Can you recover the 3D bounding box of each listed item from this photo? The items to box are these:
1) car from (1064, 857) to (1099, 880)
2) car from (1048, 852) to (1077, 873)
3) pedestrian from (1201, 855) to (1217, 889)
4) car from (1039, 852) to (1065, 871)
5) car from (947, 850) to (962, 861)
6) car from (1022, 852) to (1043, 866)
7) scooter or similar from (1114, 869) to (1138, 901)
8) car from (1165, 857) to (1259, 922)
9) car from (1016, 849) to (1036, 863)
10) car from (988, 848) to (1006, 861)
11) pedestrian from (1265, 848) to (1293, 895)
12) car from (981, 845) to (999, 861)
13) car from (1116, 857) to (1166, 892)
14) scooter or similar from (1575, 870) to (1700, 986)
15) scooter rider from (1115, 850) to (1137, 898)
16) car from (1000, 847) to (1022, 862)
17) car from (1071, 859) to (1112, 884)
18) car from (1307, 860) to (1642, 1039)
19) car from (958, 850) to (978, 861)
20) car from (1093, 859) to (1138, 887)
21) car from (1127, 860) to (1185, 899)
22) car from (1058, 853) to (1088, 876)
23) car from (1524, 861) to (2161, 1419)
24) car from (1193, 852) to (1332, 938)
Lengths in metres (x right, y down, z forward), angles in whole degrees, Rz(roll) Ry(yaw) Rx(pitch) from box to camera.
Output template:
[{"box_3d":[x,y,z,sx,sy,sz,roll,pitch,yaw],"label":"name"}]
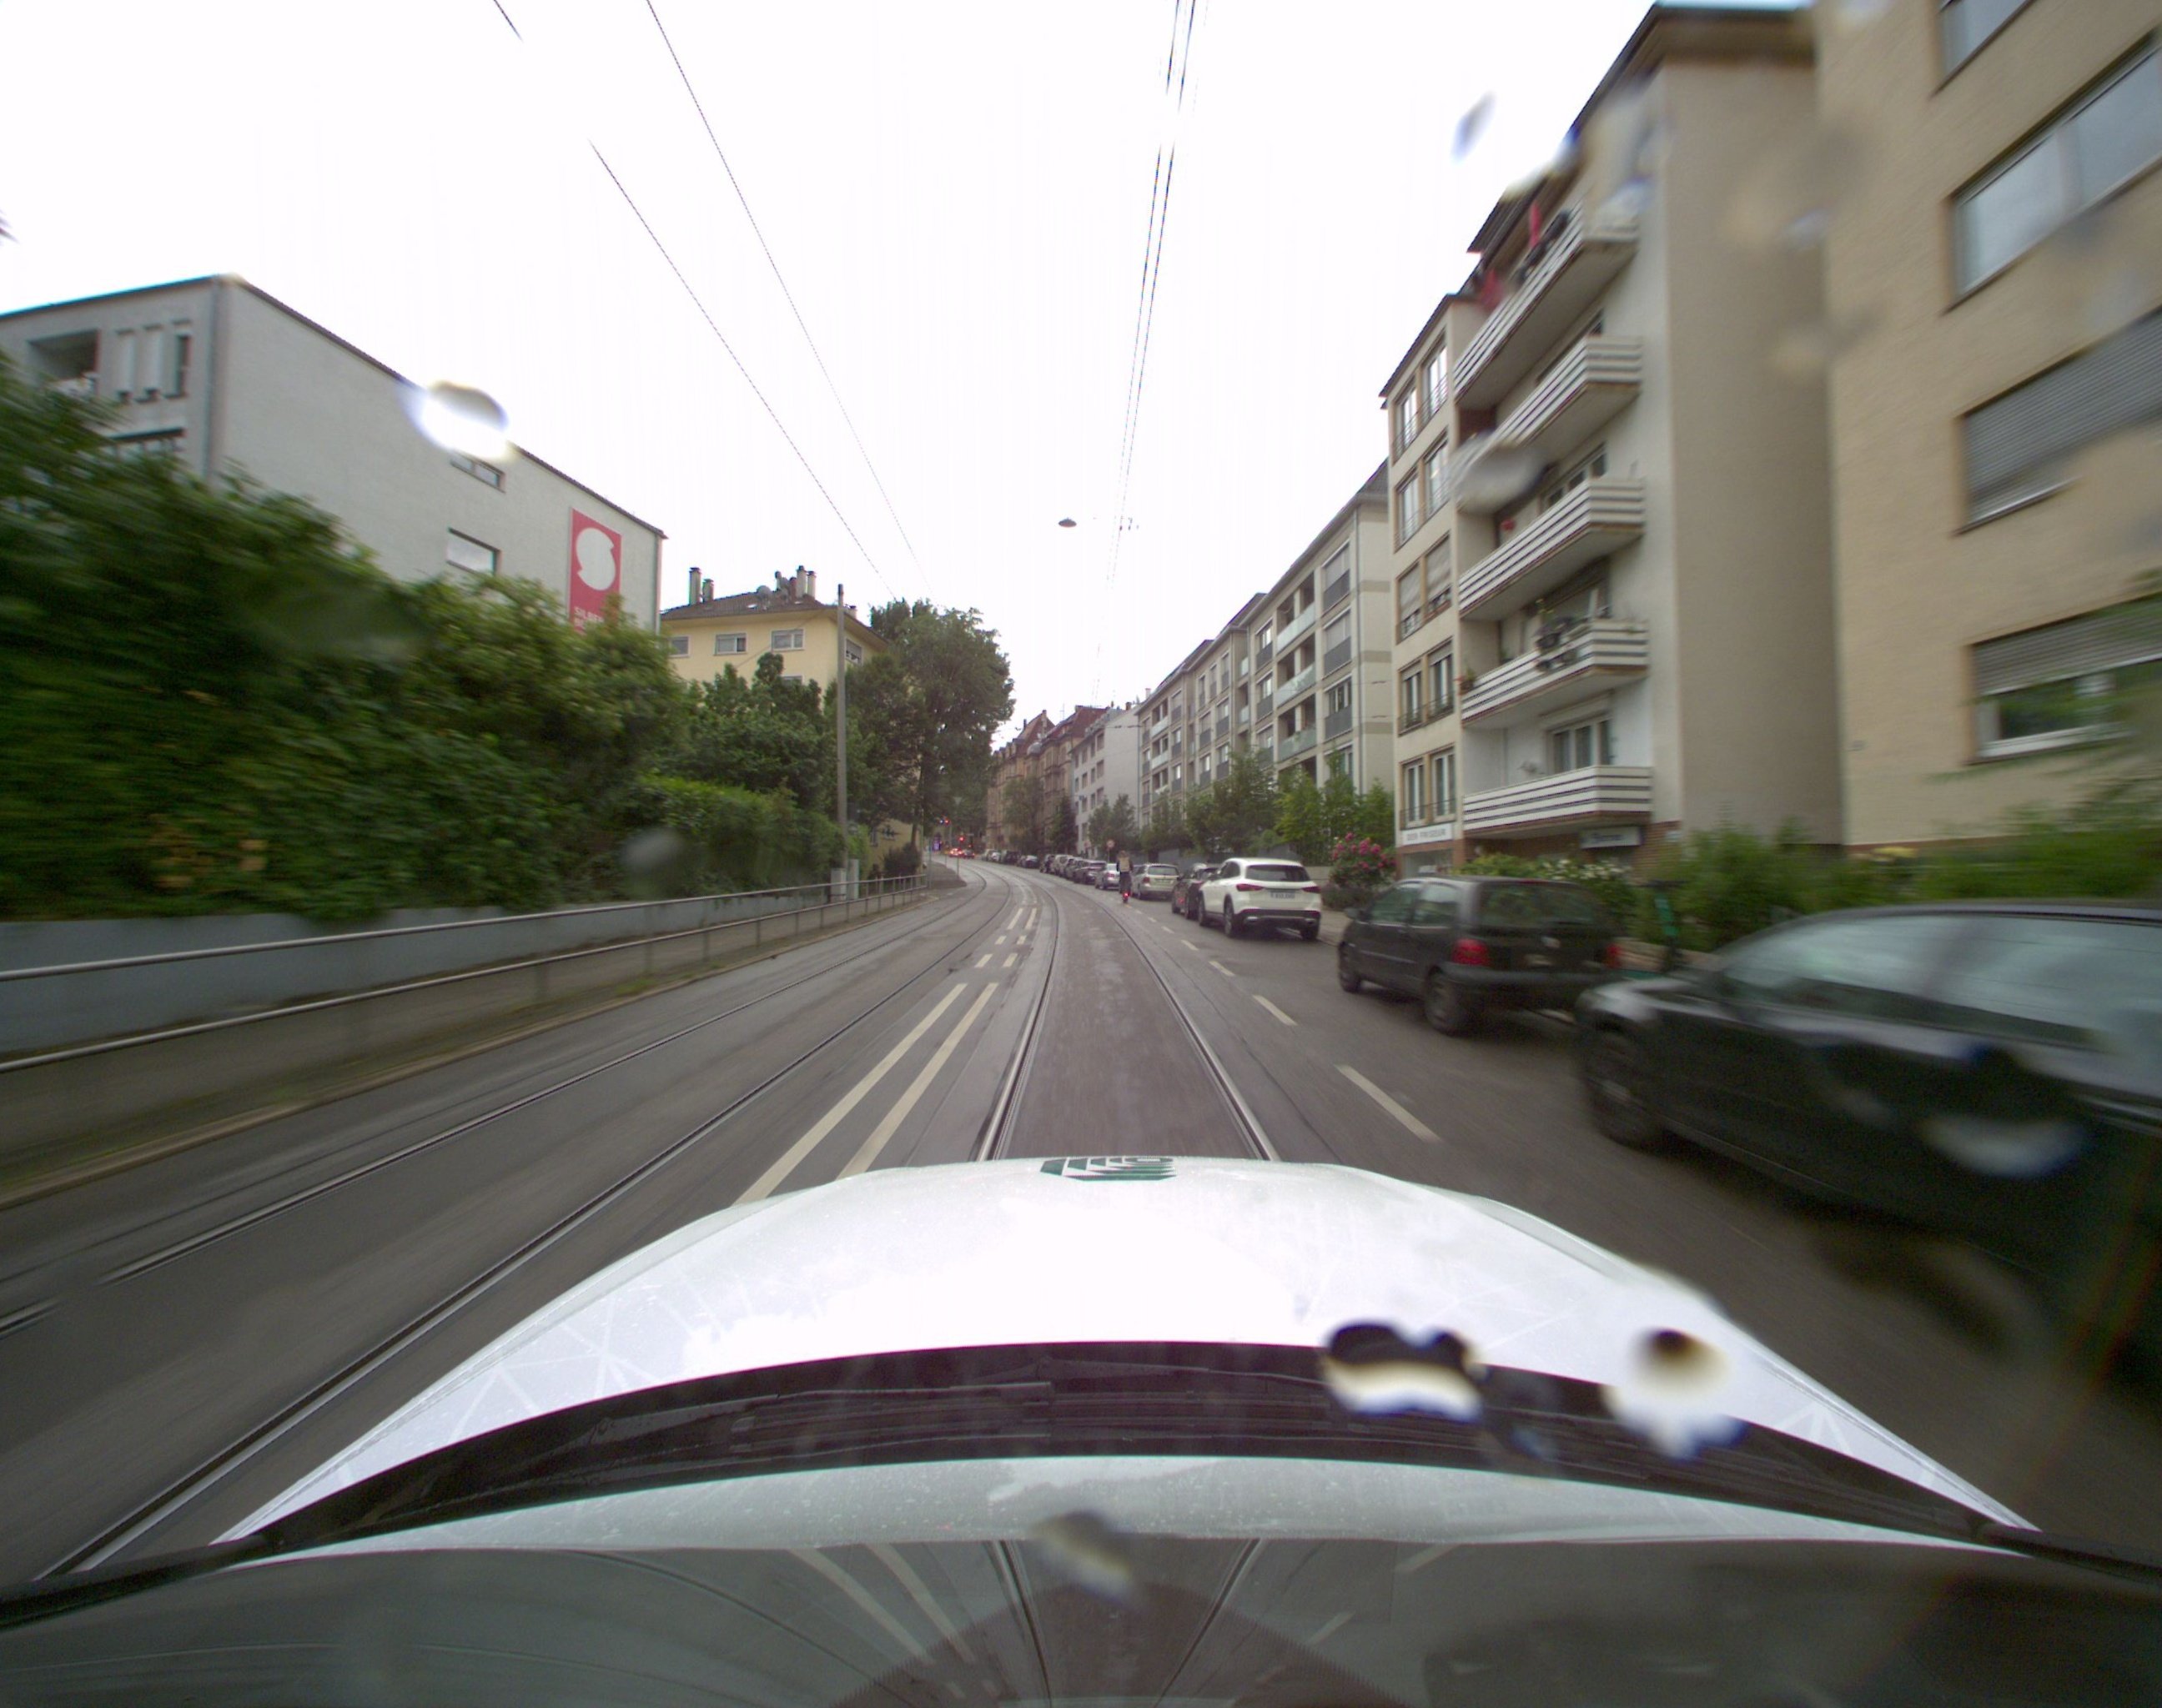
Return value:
[{"box_3d":[0.022,1.070,61.095,1.768,1.615,4.231,2,0,-12],"label":"car"},{"box_3d":[-1.718,0.741,72.819,1.768,1.684,4.230,2,0,-12],"label":"car"},{"box_3d":[6.010,0.828,38.194,0.568,1.542,0.650,-2,0,-2],"label":"pedestrian"},{"box_3d":[-2.786,0.664,77.501,1.767,1.684,4.232,2,0,-11],"label":"car"},{"box_3d":[-21.729,0.194,139.728,1.861,1.734,4.114,2,0,-18],"label":"car"},{"box_3d":[-5.448,0.543,91.060,1.767,1.518,4.124,2,0,-11],"label":"car"},{"box_3d":[1.640,1.122,29.711,0.513,1.049,2.004,3,0,-6],"label":"scooter or similar"},{"box_3d":[3.532,0.903,22.751,1.697,1.512,4.568,3,0,-1],"label":"car"},{"box_3d":[-6.493,0.180,95.800,1.651,1.536,3.872,-2,1,-13],"label":"car"},{"box_3d":[-11.978,0.052,115.810,2.030,1.824,4.122,2,0,-13],"label":"car"},{"box_3d":[6.700,0.573,27.582,0.569,1.542,0.926,-2,0,-10],"label":"pedestrian"},{"box_3d":[-13.505,-0.198,120.868,2.031,2.218,4.119,2,0,-15],"label":"car"},{"box_3d":[2.801,0.934,38.522,1.699,1.512,3.706,2,0,-6],"label":"car"},{"box_3d":[6.601,0.836,9.714,0.469,1.234,1.193,-2,1,-15],"label":"scooter or similar"},{"box_3d":[1.635,0.717,29.644,0.622,1.705,0.842,3,0,-6],"label":"scooter rider"},{"box_3d":[-9.069,0.037,104.891,2.031,1.824,4.345,2,0,-15],"label":"car"},{"box_3d":[0.666,1.133,55.228,1.769,1.615,4.228,0,0,-14],"label":"car"},{"box_3d":[3.902,0.822,8.986,1.552,1.437,4.301,1,0,-1],"label":"car"},{"box_3d":[-18.716,0.238,134.363,2.038,1.734,4.105,2,0,-26],"label":"car"},{"box_3d":[1.861,1.026,45.616,1.761,1.435,4.626,0,0,-8],"label":"car"},{"box_3d":[3.059,1.017,33.922,1.658,1.471,4.501,2,-1,-4],"label":"car"},{"box_3d":[-0.715,0.840,66.671,1.766,1.787,4.234,2,0,-10],"label":"car"},{"box_3d":[3.717,0.783,3.306,1.677,1.437,4.064,1,0,1],"label":"car"},{"box_3d":[3.768,0.793,17.702,1.833,1.573,4.243,2,0,-3],"label":"car"}]
